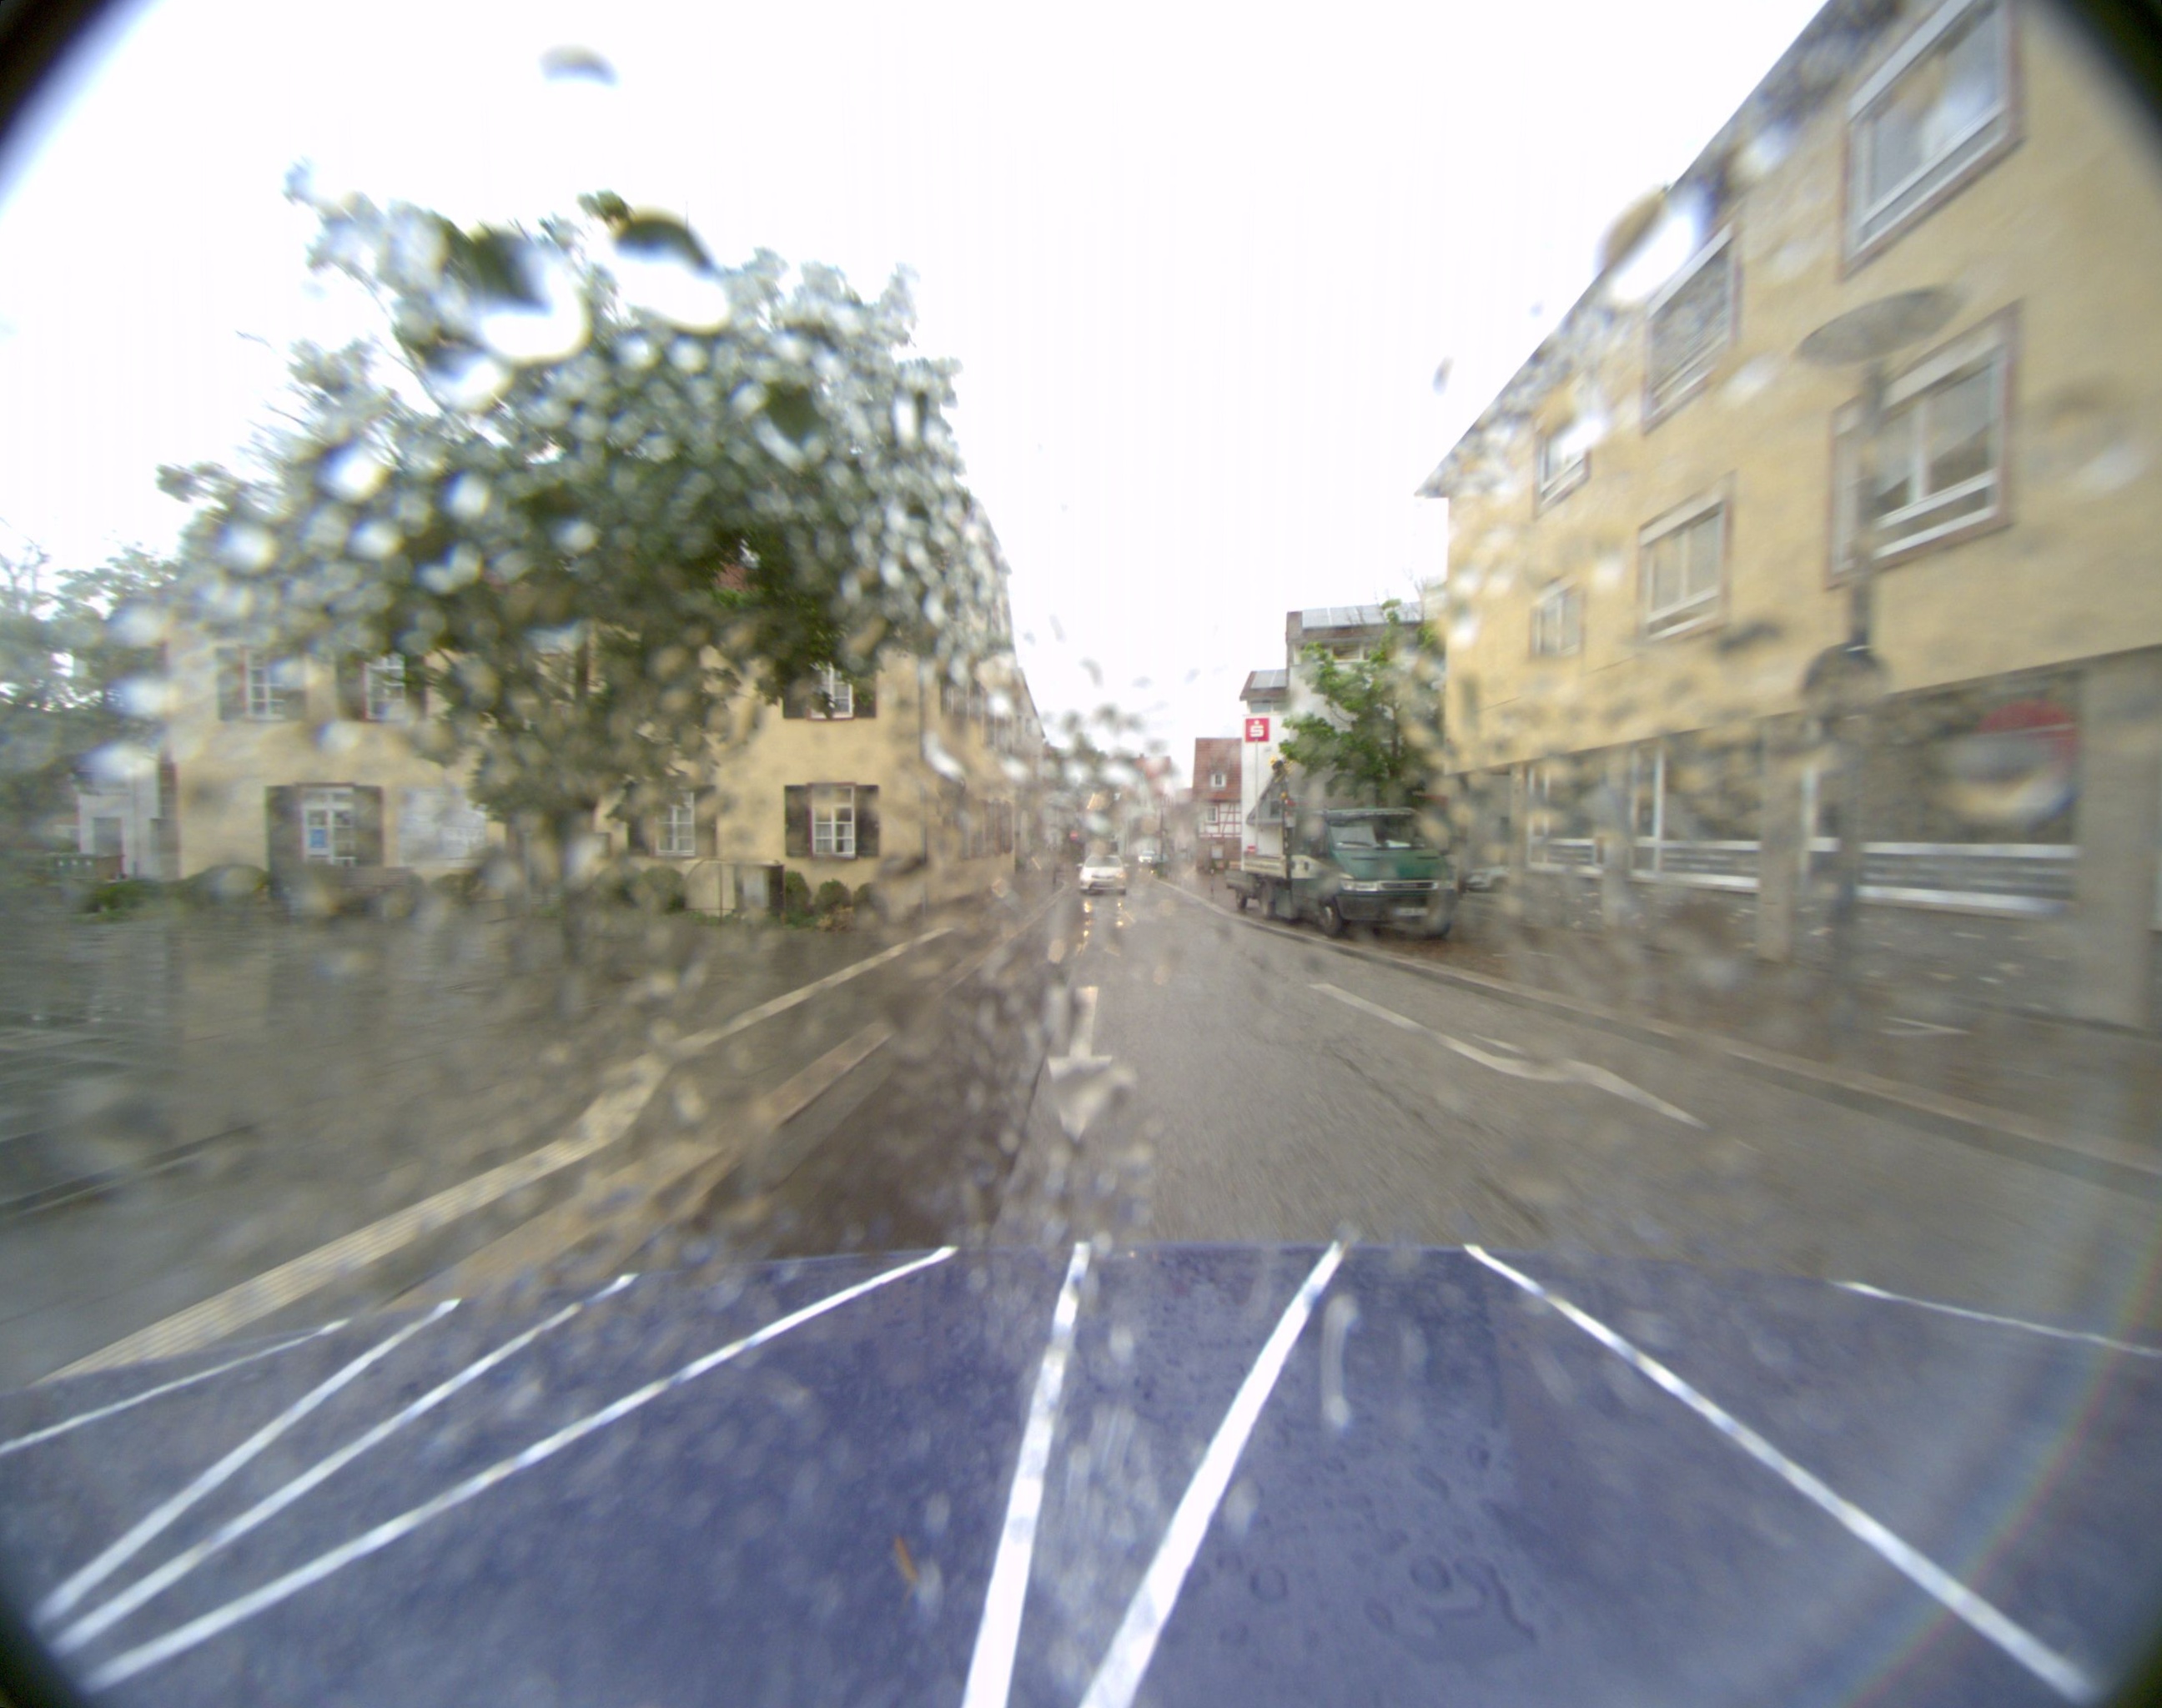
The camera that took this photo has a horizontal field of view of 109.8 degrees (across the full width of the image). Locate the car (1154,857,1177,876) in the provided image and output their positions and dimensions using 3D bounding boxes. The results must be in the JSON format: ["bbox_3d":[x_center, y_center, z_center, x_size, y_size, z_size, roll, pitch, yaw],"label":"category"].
[{"bbox_3d":[7.082,1.021,63.610,1.806,1.434,4.001,-1,1,7],"label":"car"}]

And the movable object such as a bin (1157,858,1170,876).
[{"bbox_3d":[5.086,0.825,46.841,0.697,1.071,0.645,-2,1,3],"label":"movable object such as a bin"}]

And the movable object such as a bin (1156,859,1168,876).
[{"bbox_3d":[5.084,0.850,47.544,0.697,1.045,0.645,1,2,3],"label":"movable object such as a bin"}]

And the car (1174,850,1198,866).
[{"bbox_3d":[10.471,0.361,75.672,1.804,1.434,4.004,0,1,17],"label":"car"}]

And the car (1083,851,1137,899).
[{"bbox_3d":[1.095,0.710,28.960,1.867,1.577,4.614,1,1,2],"label":"car"}]

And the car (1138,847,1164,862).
[{"bbox_3d":[7.381,0.035,79.315,1.865,1.452,4.005,2,1,17],"label":"car"}]

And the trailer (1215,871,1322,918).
[{"bbox_3d":[4.744,1.003,19.621,1.857,1.118,3.019,0,-1,-4],"label":"trailer"}]

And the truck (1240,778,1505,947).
[{"bbox_3d":[5.149,0.207,14.867,2.406,2.579,6.482,0,-1,-3],"label":"truck"}]
